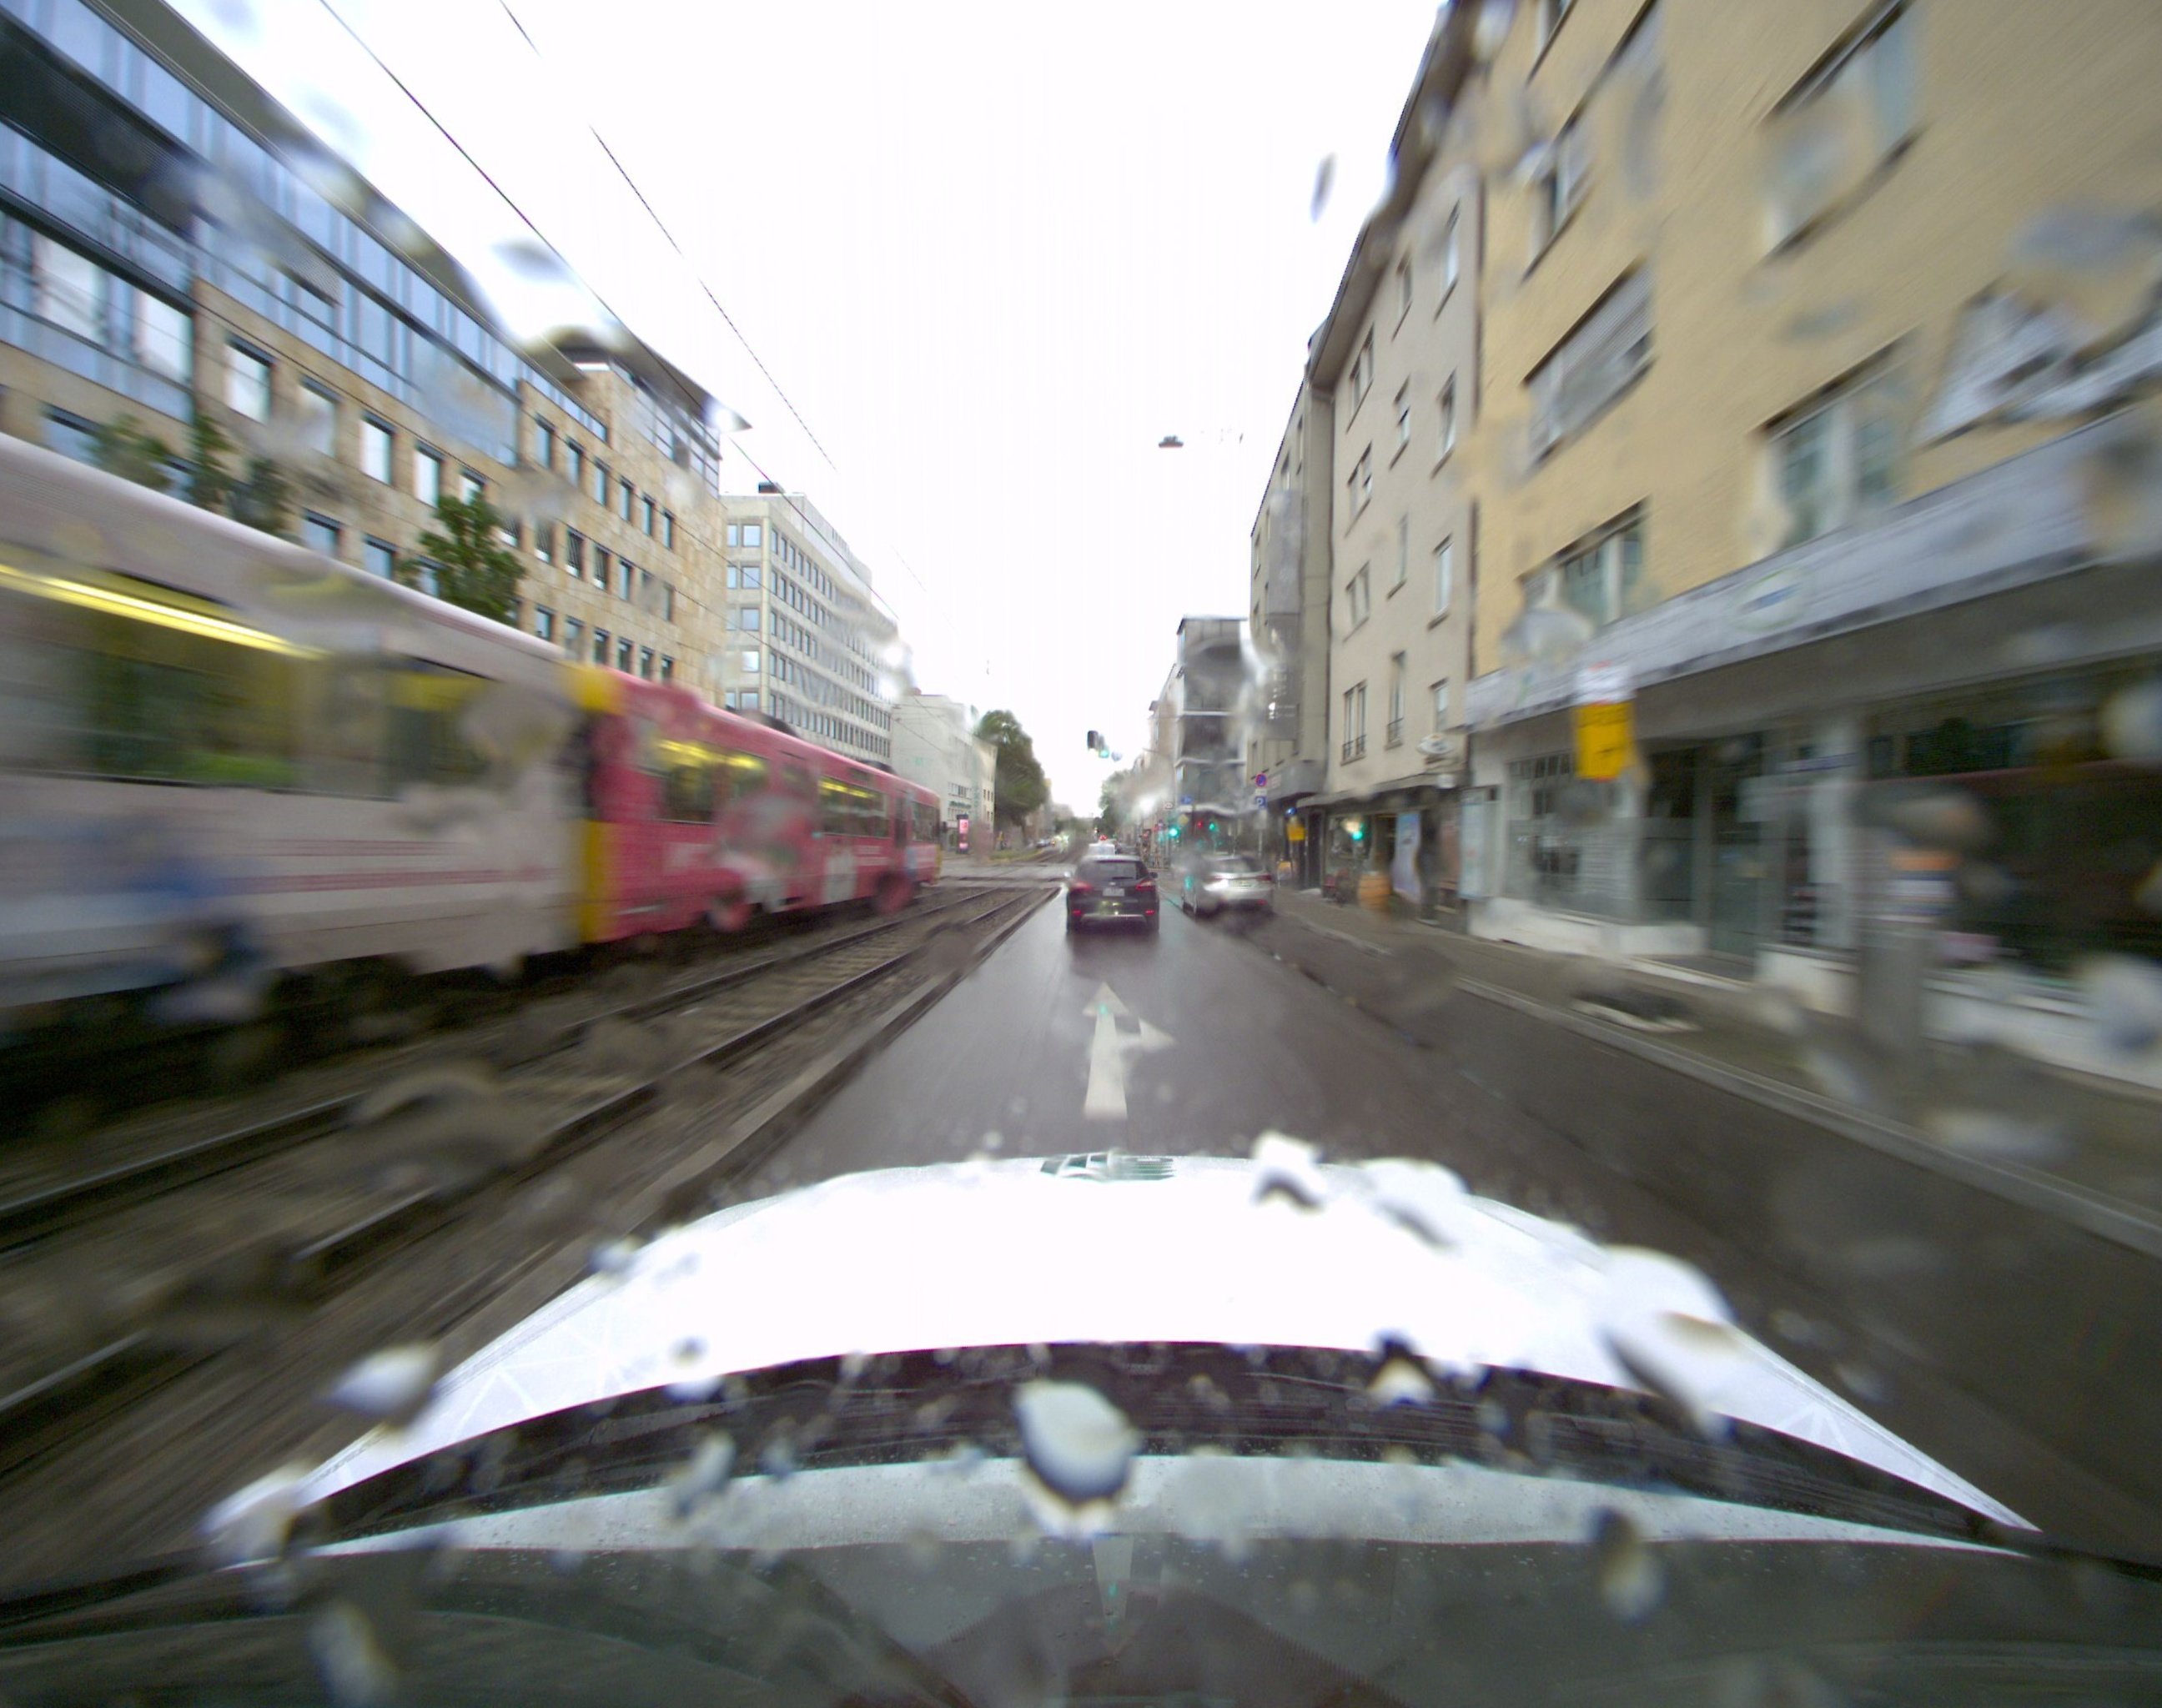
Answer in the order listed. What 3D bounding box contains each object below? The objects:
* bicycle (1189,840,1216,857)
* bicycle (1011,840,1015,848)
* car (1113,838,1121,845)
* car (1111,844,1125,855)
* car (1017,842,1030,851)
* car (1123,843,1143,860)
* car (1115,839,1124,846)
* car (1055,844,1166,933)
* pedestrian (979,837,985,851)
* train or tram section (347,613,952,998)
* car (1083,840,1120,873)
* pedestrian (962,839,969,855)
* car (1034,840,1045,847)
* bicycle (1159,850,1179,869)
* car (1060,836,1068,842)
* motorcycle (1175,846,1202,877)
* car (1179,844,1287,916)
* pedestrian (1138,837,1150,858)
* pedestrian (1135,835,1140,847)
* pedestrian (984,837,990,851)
[{"bbox_3d":[8.157,-0.385,54.758,0.580,1.157,1.936,0,1,-35],"label":"bicycle"},{"bbox_3d":[-11.234,-1.672,133.939,0.590,1.226,2.399,0,1,-5],"label":"bicycle"},{"bbox_3d":[7.962,-2.772,182.128,1.637,1.515,4.040,0,2,1],"label":"car"},{"bbox_3d":[5.186,-0.650,114.296,1.986,1.593,4.574,-1,1,2],"label":"car"},{"bbox_3d":[-9.695,-1.306,136.775,1.737,1.468,4.222,-1,1,1],"label":"car"},{"bbox_3d":[5.248,-0.268,82.646,1.986,1.593,4.274,-1,1,2],"label":"car"},{"bbox_3d":[8.410,-2.531,177.260,1.732,1.488,4.001,0,2,1],"label":"car"},{"bbox_3d":[0.621,0.598,16.863,1.986,1.593,4.274,-1,1,2],"label":"car"},{"bbox_3d":[-13.615,-1.371,111.735,0.724,1.895,0.983,0,1,1],"label":"pedestrian"},{"bbox_3d":[-6.078,-0.558,18.031,2.891,4.050,18.775,-1,0,2],"label":"train or tram section"},{"bbox_3d":[1.244,0.119,47.679,1.985,1.816,4.275,-1,1,3],"label":"car"},{"bbox_3d":[-13.767,-0.821,97.152,0.725,1.895,0.689,0,1,-2],"label":"pedestrian"},{"bbox_3d":[-8.591,-2.214,169.859,1.986,1.519,4.437,0,1,1],"label":"car"},{"bbox_3d":[6.112,0.342,56.427,0.499,1.258,1.942,0,1,-23],"label":"bicycle"},{"bbox_3d":[-4.865,-4.183,228.420,1.986,1.519,4.446,0,0,2],"label":"car"},{"bbox_3d":[5.266,0.361,39.898,1.137,1.461,0.676,-1,1,-35],"label":"motorcycle"},{"bbox_3d":[3.681,0.551,20.549,2.016,1.593,4.623,-1,1,2],"label":"car"},{"bbox_3d":[4.958,-0.514,64.468,0.662,1.582,0.774,-1,1,-20],"label":"pedestrian"},{"bbox_3d":[9.467,-2.168,136.396,0.733,2.013,0.821,0,2,0],"label":"pedestrian"},{"bbox_3d":[-12.846,-1.359,111.616,0.676,1.895,0.743,0,1,1],"label":"pedestrian"}]
